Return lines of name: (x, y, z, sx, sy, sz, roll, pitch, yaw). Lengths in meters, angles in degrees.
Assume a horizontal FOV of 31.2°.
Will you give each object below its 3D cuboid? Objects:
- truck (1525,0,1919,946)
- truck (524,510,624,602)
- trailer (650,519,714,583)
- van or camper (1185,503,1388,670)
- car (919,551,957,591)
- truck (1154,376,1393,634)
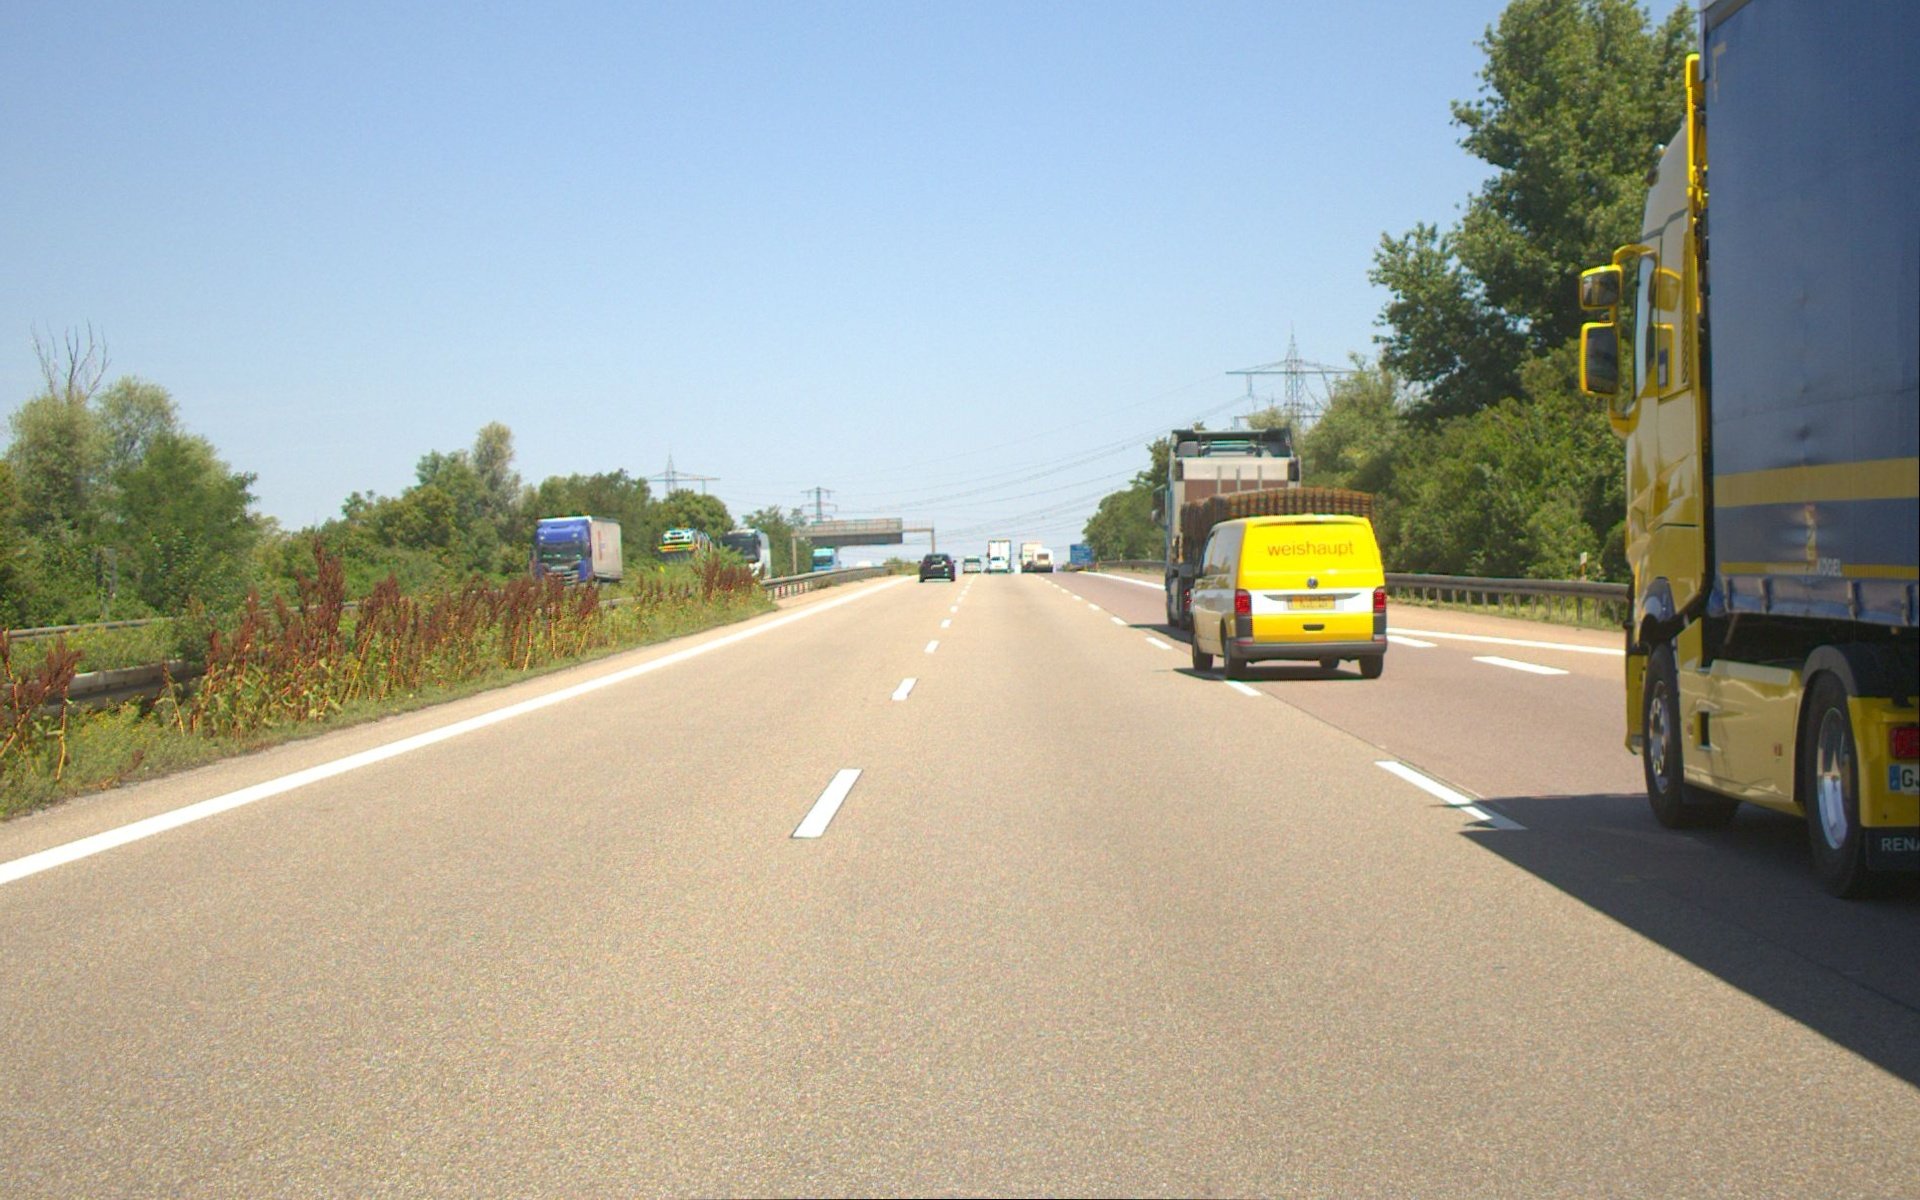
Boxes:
truck: (4.774, -0.931, 11.511, 2.845, 4.243, 16.792, -2, 0, 0)
truck: (-19.199, -2.197, 172.146, 2.955, 4.327, 17.471, -1, 1, 0)
trailer: (-18.236, -3.224, 226.145, 2.921, 3.954, 11.651, -4, 1, 0)
van or camper: (3.909, -0.196, 41.938, 1.993, 1.903, 4.971, -1, 1, 0)
car: (-1.089, -1.449, 172.615, 1.791, 2.007, 3.887, 0, 0, 1)
truck: (5.276, -1.504, 61.071, 2.969, 3.944, 16.613, 0, 0, 1)
